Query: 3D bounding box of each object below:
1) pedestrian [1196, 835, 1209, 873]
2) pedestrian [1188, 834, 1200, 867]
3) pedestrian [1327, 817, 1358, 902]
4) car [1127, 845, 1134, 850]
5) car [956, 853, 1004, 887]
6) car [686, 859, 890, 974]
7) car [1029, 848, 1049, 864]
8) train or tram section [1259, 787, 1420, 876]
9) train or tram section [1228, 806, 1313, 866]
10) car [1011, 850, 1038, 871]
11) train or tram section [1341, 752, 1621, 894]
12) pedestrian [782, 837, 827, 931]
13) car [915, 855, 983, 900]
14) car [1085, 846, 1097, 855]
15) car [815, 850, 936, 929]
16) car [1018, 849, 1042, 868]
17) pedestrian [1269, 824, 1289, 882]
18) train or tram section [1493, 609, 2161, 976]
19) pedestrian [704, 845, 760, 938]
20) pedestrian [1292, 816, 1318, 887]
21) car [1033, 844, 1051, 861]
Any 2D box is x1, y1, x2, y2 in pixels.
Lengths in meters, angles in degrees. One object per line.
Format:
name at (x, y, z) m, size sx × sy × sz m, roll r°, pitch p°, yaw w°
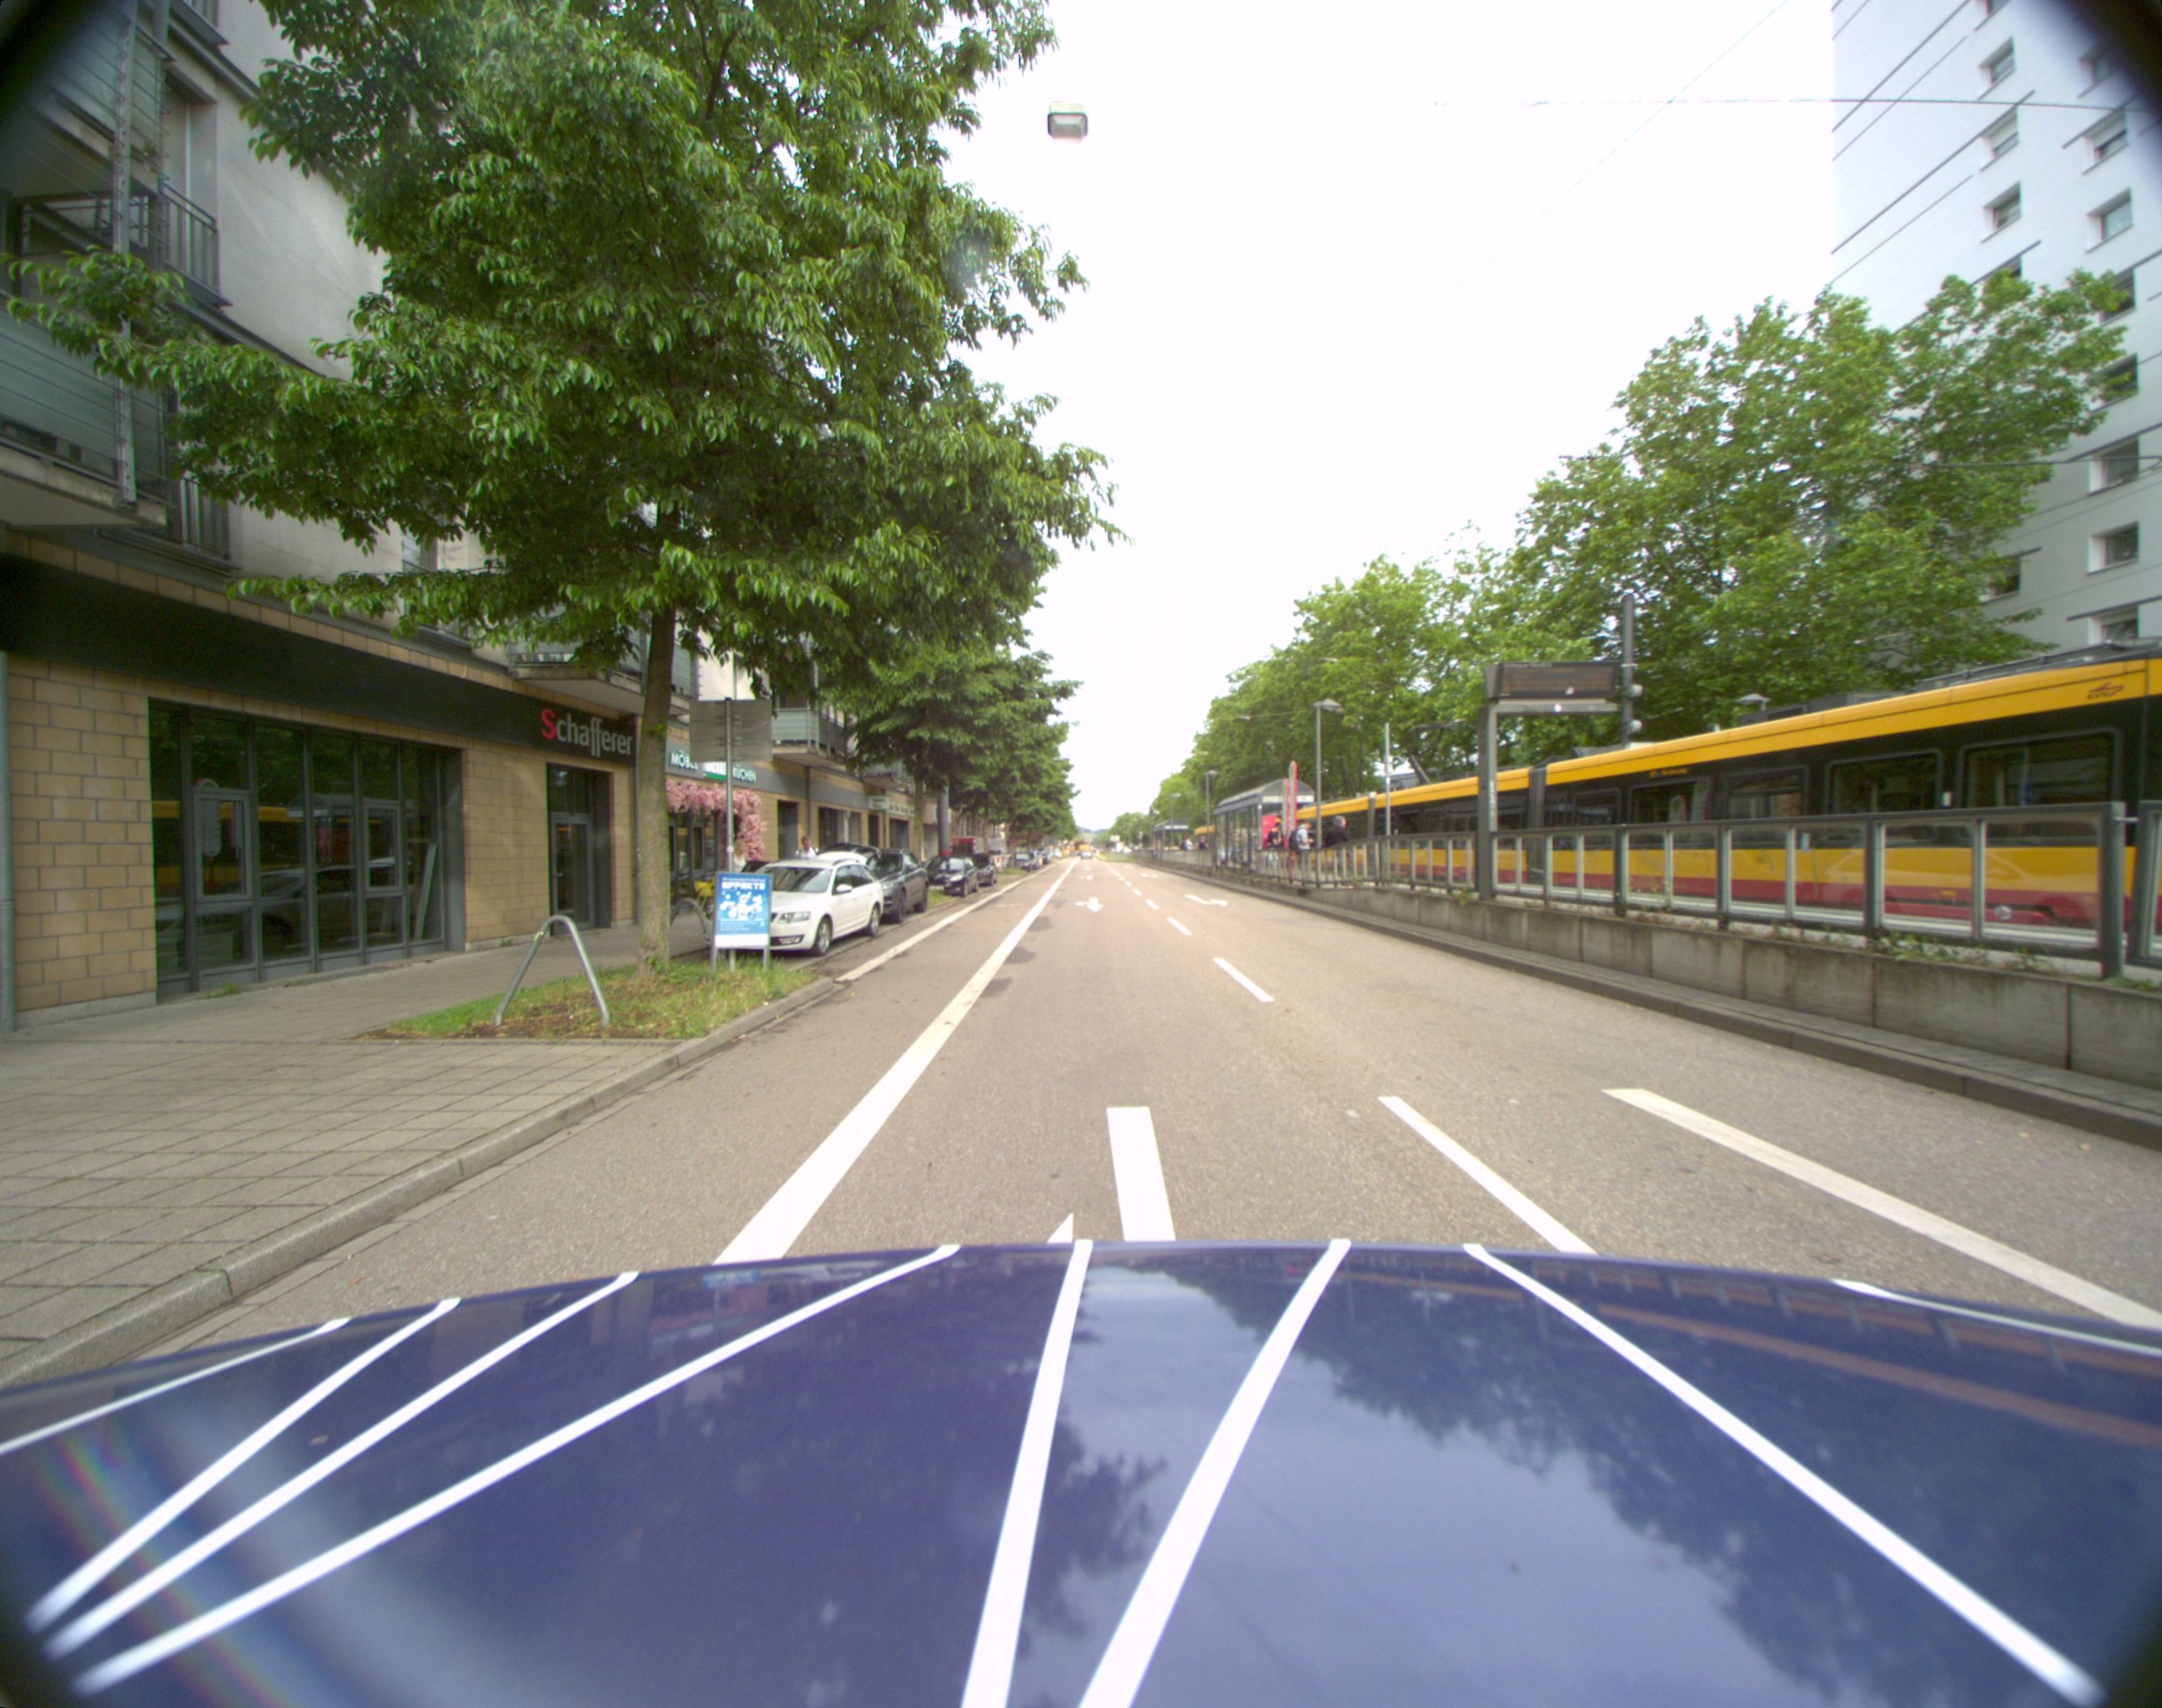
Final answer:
pedestrian at (5.843, -0.003, 36.520) m, size 0.530 × 1.794 × 0.606 m, roll -2°, pitch 1°, yaw 14°
pedestrian at (6.135, -0.181, 41.337) m, size 0.530 × 1.794 × 0.606 m, roll -2°, pitch 1°, yaw 14°
pedestrian at (5.702, 0.117, 16.577) m, size 0.521 × 1.794 × 0.605 m, roll -2°, pitch 1°, yaw 13°
car at (14.825, -2.007, 226.852) m, size 1.716 × 1.379 × 4.098 m, roll -1°, pitch 1°, yaw -1°
car at (-4.561, 0.683, 34.734) m, size 1.612 × 1.393 × 3.667 m, roll 2°, pitch 1°, yaw 1°
car at (-4.723, 0.900, 12.998) m, size 1.738 × 1.512 × 4.308 m, roll 2°, pitch 1°, yaw 1°
car at (-3.975, 0.207, 72.448) m, size 1.612 × 1.393 × 3.667 m, roll 2°, pitch 1°, yaw 1°
train or tram section at (13.159, -1.075, 41.233) m, size 3.338 × 3.731 × 16.247 m, roll -2°, pitch 1°, yaw 1°
train or tram section at (13.379, -1.237, 54.840) m, size 3.338 × 3.731 × 11.042 m, roll -2°, pitch 1°, yaw 1°
car at (-4.169, 0.477, 56.262) m, size 1.612 × 1.393 × 3.667 m, roll 2°, pitch 1°, yaw 1°
train or tram section at (12.956, -0.905, 26.808) m, size 3.338 × 3.731 × 12.547 m, roll -2°, pitch 1°, yaw 1°
pedestrian at (-5.647, 0.608, 15.558) m, size 0.656 × 1.873 × 0.599 m, roll -1°, pitch 1°, yaw 1°
car at (-4.641, 0.793, 27.272) m, size 1.612 × 1.370 × 4.167 m, roll 2°, pitch 1°, yaw 1°
car at (1.600, -0.609, 122.472) m, size 1.716 × 1.379 × 4.099 m, roll -2°, pitch 1°, yaw 1°
car at (-4.719, 0.741, 18.000) m, size 1.738 × 1.601 × 3.798 m, roll 2°, pitch 1°, yaw 1°
car at (-4.130, 0.362, 62.161) m, size 1.612 × 1.393 × 3.667 m, roll 2°, pitch 1°, yaw 1°
pedestrian at (6.308, -0.030, 24.196) m, size 0.474 × 1.794 × 0.606 m, roll -2°, pitch 1°, yaw 26°
train or tram section at (12.737, -0.740, 12.909) m, size 3.338 × 3.731 × 15.201 m, roll -2°, pitch 1°, yaw 1°
pedestrian at (-6.545, 0.688, 14.257) m, size 0.737 × 1.707 × 0.618 m, roll 0°, pitch 1°, yaw 5°
pedestrian at (5.750, -0.067, 19.545) m, size 0.475 × 1.794 × 0.605 m, roll -2°, pitch 1°, yaw 5°
car at (-3.969, -0.143, 78.218) m, size 1.612 × 1.674 × 3.806 m, roll 2°, pitch 1°, yaw 1°
